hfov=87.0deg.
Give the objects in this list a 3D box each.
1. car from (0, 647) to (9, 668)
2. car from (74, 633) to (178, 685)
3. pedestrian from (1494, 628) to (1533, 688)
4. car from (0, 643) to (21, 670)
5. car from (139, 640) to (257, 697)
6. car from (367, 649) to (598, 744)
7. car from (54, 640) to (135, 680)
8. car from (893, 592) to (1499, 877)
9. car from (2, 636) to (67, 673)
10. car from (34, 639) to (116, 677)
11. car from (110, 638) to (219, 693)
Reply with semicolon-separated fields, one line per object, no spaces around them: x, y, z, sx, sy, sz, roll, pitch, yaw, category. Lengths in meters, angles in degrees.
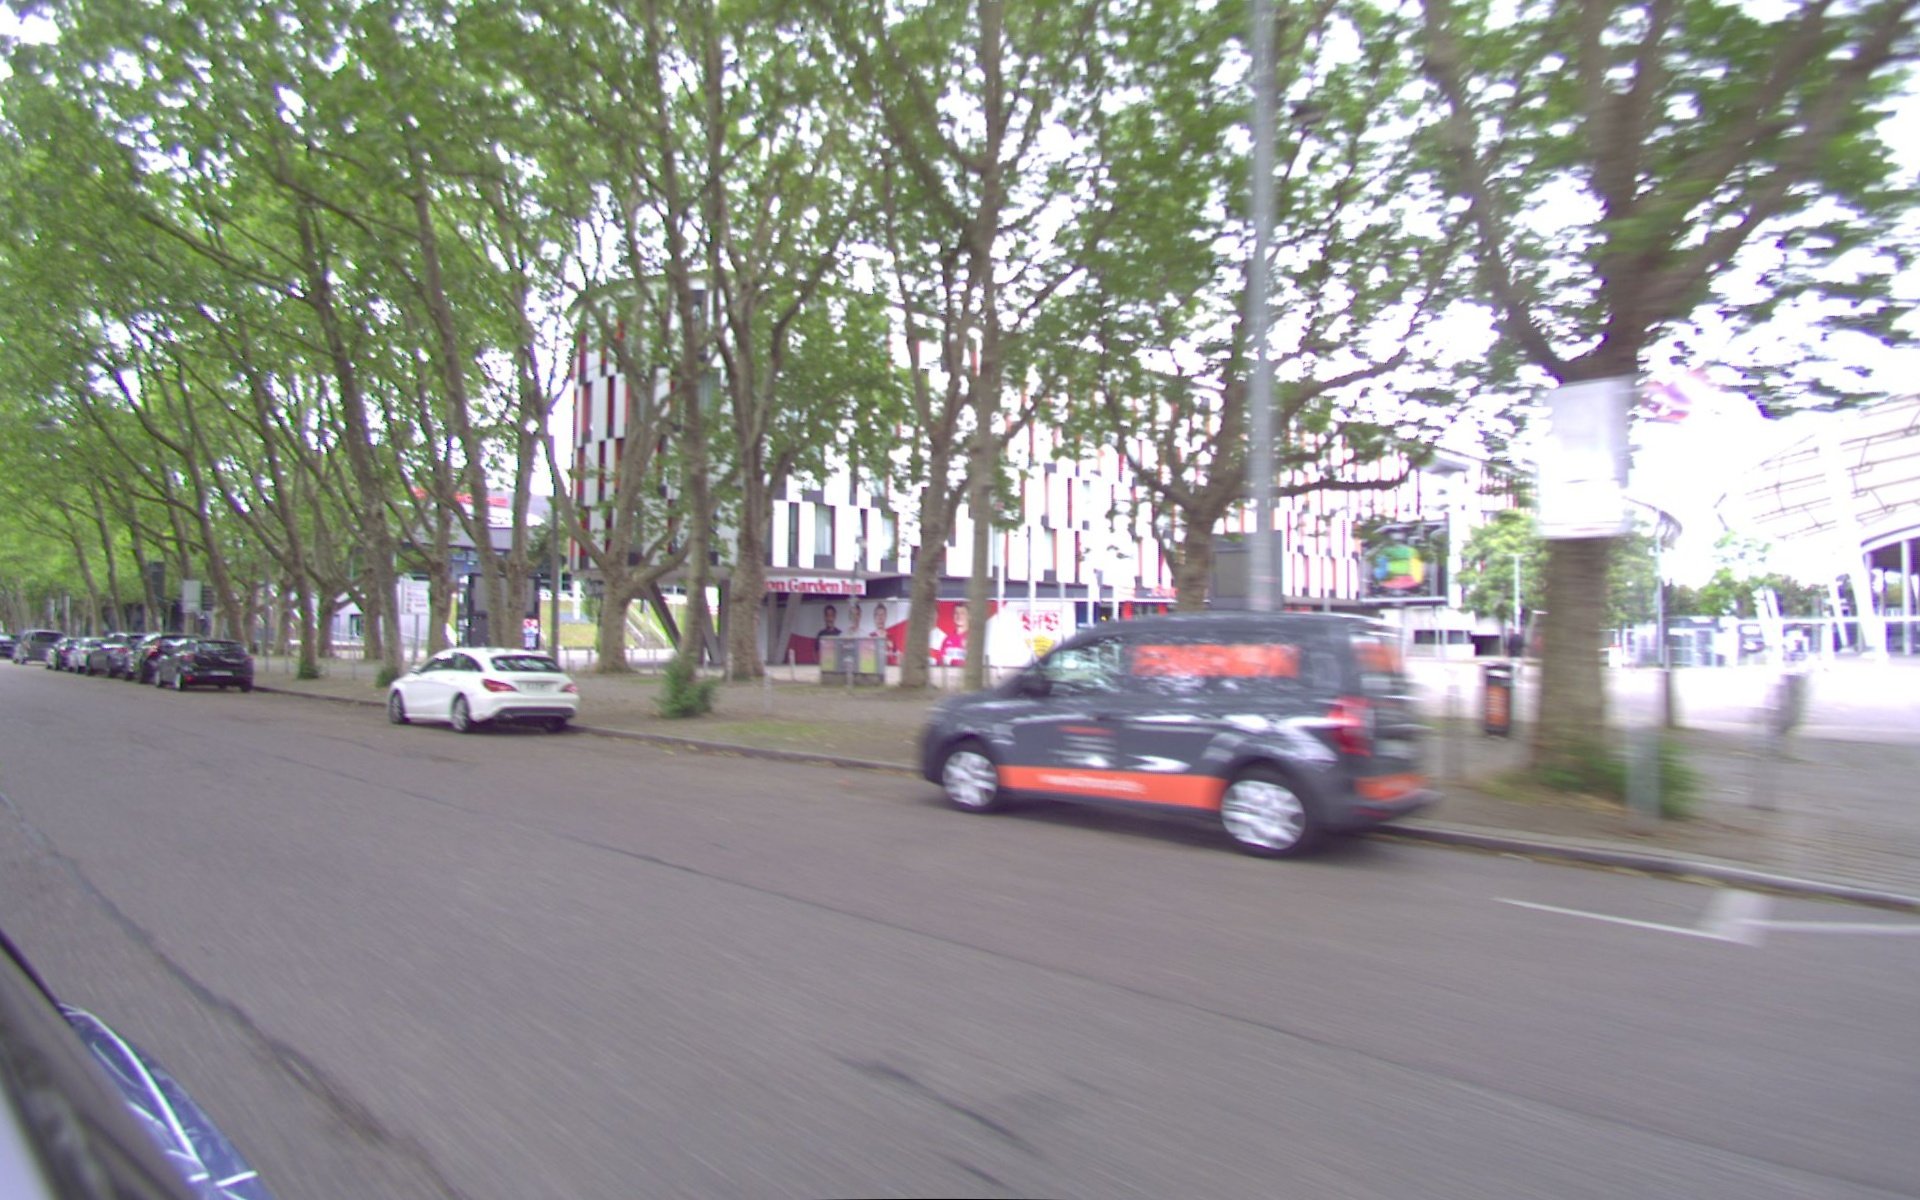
-63.956;3.756;66.315;5.002;1.373;1.797;-2;-5;40;car
-30.408;2.139;36.861;4.642;1.731;1.851;-2;-6;38;car
16.117;1.685;29.466;0.808;1.704;0.716;-2;-4;45;pedestrian
-59.680;3.484;62.725;4.345;1.606;1.797;-2;-6;43;car
-22.236;1.976;29.481;4.441;1.506;1.814;-2;-7;42;car
-8.486;1.634;17.789;4.749;1.413;1.884;-2;-6;41;car
-34.720;2.399;40.568;4.228;1.467;1.814;-2;-6;41;car
1.771;0.947;8.577;4.635;1.764;1.929;-2;-5;41;car
-48.465;2.836;52.963;4.610;1.809;1.876;-2;-6;41;car
-38.484;2.533;43.951;5.144;1.542;2.061;-3;-5;43;car
-26.134;2.134;33.190;4.927;1.656;1.916;-2;-7;43;car
